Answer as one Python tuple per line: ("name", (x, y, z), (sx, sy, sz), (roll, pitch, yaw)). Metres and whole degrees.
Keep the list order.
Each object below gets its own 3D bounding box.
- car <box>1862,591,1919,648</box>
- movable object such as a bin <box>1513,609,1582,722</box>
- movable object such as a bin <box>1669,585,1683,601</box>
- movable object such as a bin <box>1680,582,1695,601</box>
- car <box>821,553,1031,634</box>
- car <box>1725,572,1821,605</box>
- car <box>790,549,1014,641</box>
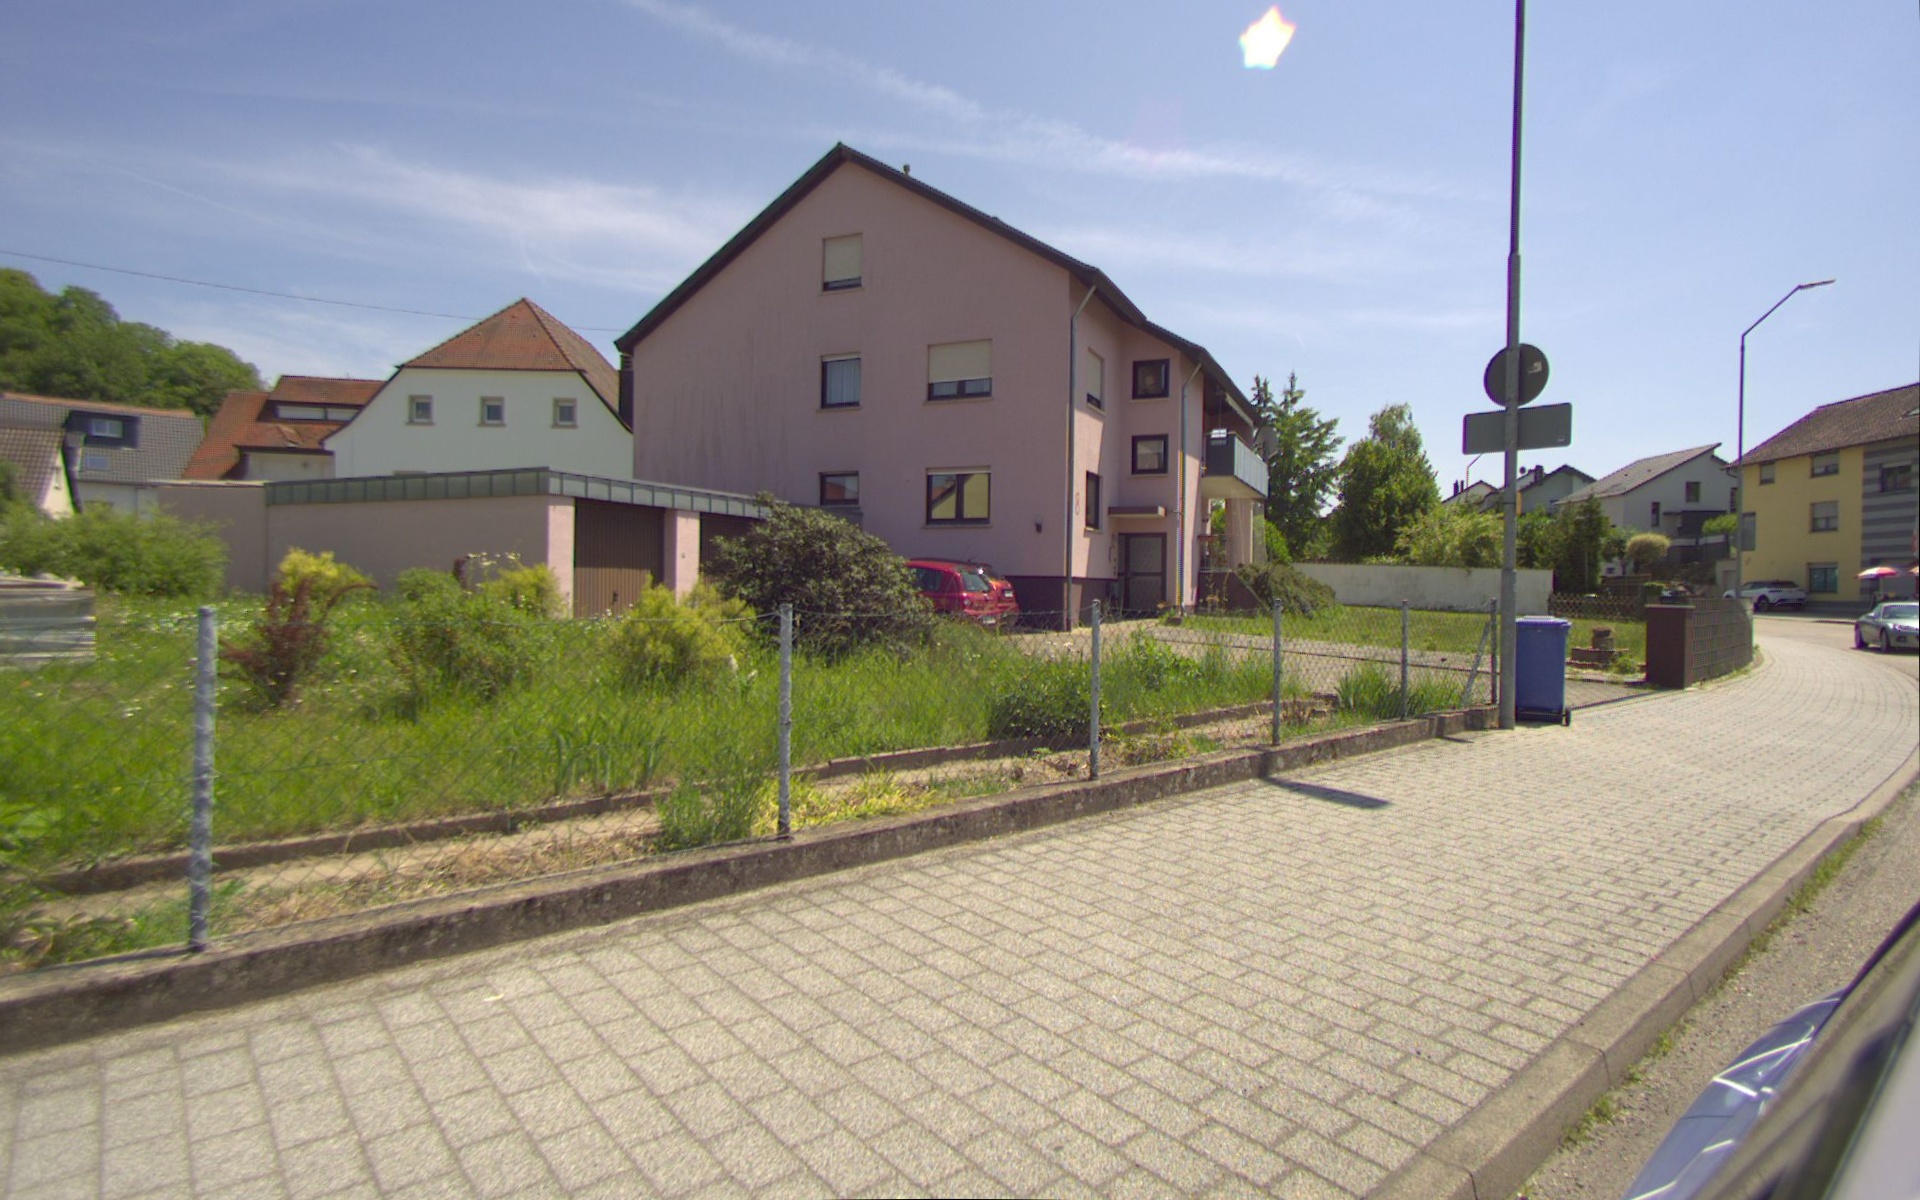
("car", (24.452, 0.463, 25.569), (1.801, 1.330, 3.956), (0, 1, 31))
("movable object such as a bin", (6.017, 0.646, 10.358), (0.562, 1.070, 0.643), (1, 1, 33))
("movable object such as a bin", (42.119, -0.414, 59.550), (0.440, 0.950, 0.530), (0, 1, 4))
("movable object such as a bin", (42.705, -0.492, 59.427), (0.464, 1.068, 0.634), (-1, 1, 4))
("car", (-0.706, -0.154, 21.377), (4.078, 1.567, 1.837), (0, 1, 23))
("car", (40.575, -0.588, 50.622), (1.705, 1.571, 4.183), (0, 1, 5))
("car", (-1.087, -0.137, 18.793), (3.800, 1.504, 1.746), (2, 2, 27))
